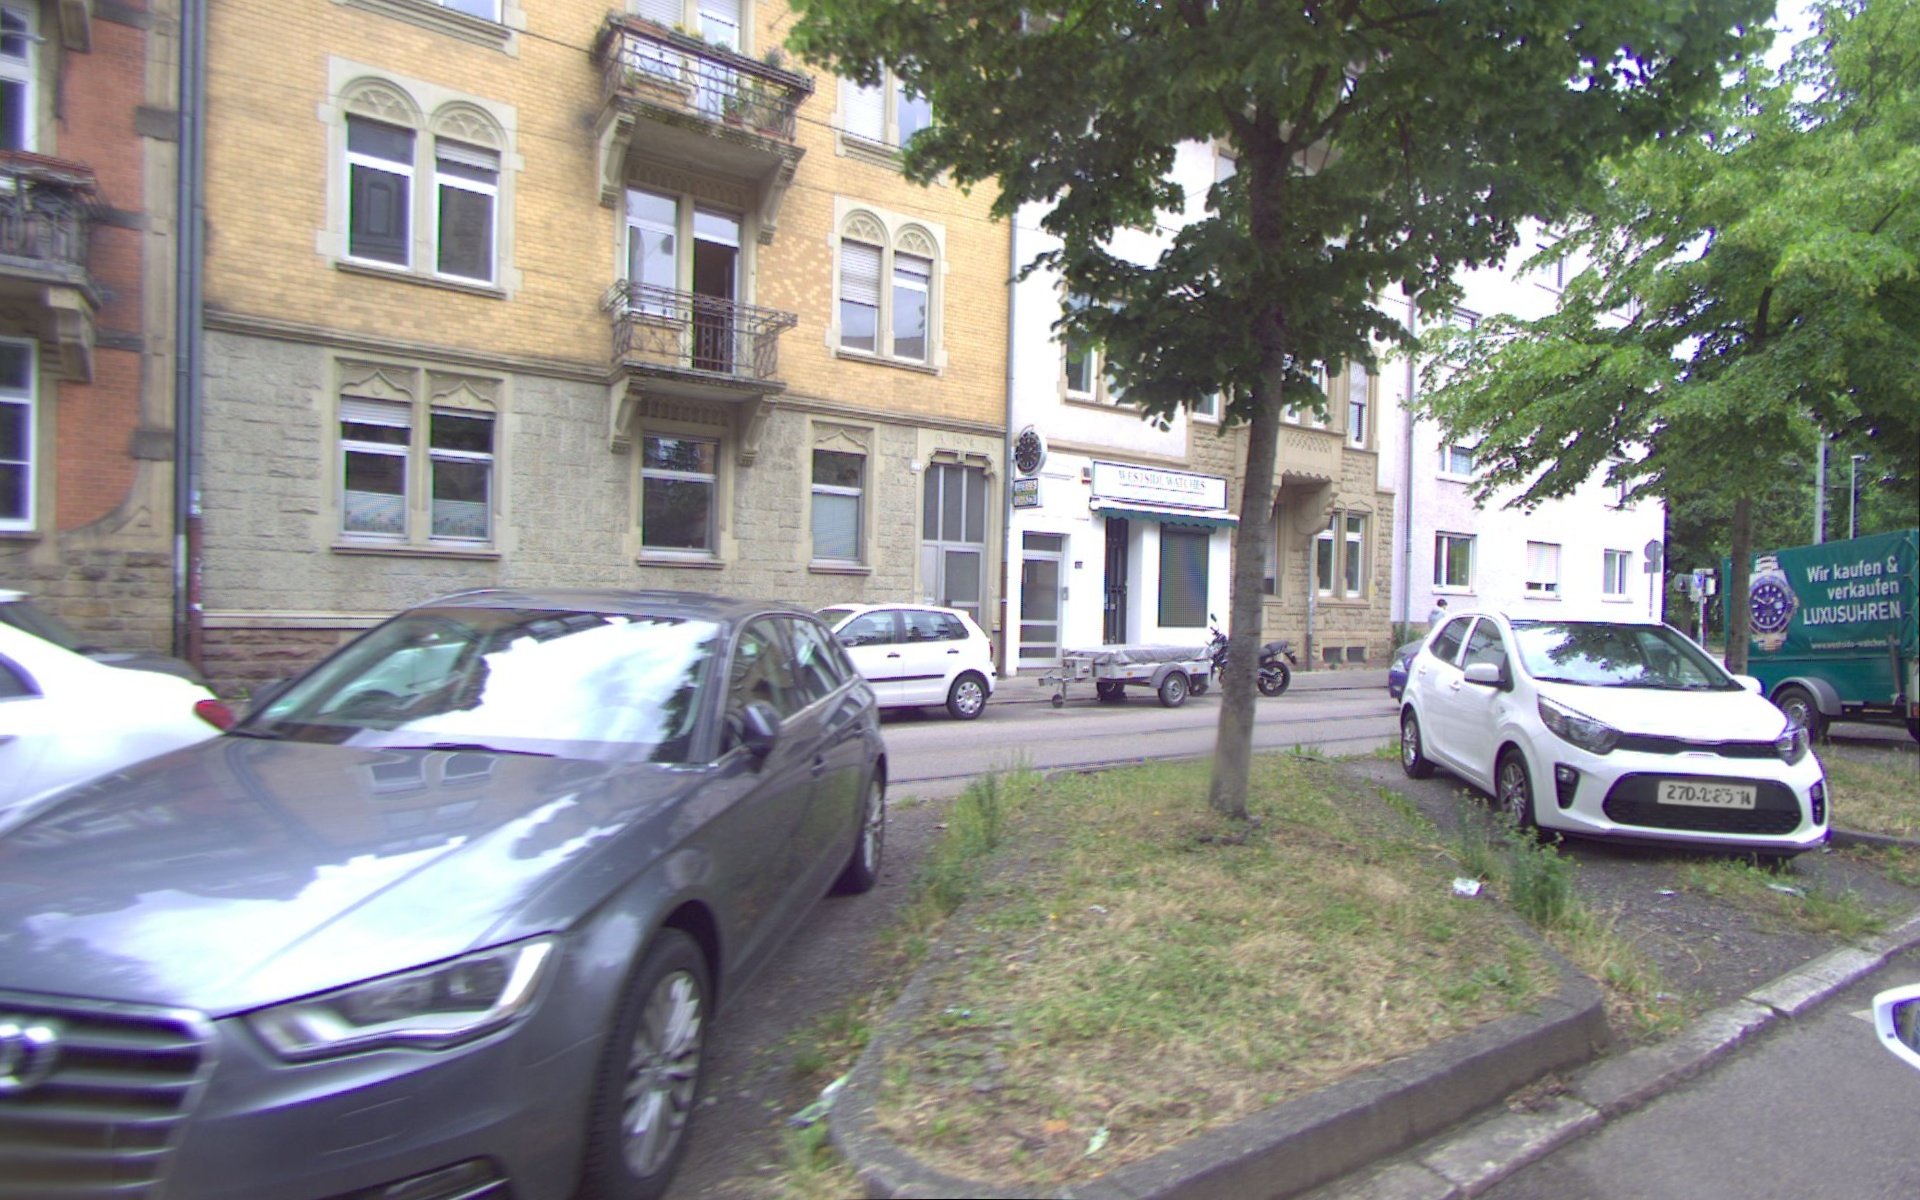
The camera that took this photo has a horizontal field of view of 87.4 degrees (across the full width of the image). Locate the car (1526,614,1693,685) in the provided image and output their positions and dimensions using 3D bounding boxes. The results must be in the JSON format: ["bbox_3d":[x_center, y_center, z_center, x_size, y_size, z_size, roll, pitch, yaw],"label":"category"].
[{"bbox_3d":[15.234,1.120,23.468,4.715,1.462,1.624,1,0,-35],"label":"car"}]

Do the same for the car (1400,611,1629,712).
[{"bbox_3d":[8.921,0.943,16.075,3.843,1.401,1.634,2,0,-34],"label":"car"}]

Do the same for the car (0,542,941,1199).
[{"bbox_3d":[-1.317,0.640,3.847,1.860,1.454,4.343,1,0,7],"label":"car"}]

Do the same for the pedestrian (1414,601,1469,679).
[{"bbox_3d":[11.278,0.922,23.532,0.891,1.790,0.792,1,0,-34],"label":"pedestrian"}]

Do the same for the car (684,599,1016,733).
[{"bbox_3d":[-1.316,0.769,12.709,3.884,1.462,1.624,1,-2,-35],"label":"car"}]

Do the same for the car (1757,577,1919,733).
[{"bbox_3d":[13.351,0.735,13.429,1.920,2.000,4.770,1,0,6],"label":"car"}]

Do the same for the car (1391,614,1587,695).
[{"bbox_3d":[10.835,1.058,20.457,4.524,1.462,1.624,1,0,-35],"label":"car"}]

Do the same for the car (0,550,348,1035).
[{"bbox_3d":[-3.894,0.552,2.186,1.860,1.454,4.691,1,0,6],"label":"car"}]

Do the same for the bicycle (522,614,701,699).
[{"bbox_3d":[-4.802,0.756,13.941,2.237,1.087,0.706,1,0,-35],"label":"bicycle"}]

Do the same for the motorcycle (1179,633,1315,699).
[{"bbox_3d":[4.914,1.129,17.215,2.194,1.052,0.708,2,0,-17],"label":"motorcycle"}]

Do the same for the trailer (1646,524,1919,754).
[{"bbox_3d":[10.574,0.426,12.244,1.893,2.376,3.671,1,0,0],"label":"trailer"}]

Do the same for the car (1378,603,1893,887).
[{"bbox_3d":[4.452,0.785,7.400,1.655,1.482,3.866,1,0,9],"label":"car"}]

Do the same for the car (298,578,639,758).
[{"bbox_3d":[-4.999,0.612,10.267,2.921,1.571,1.624,1,0,-35],"label":"car"}]

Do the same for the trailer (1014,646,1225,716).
[{"bbox_3d":[2.451,1.176,15.249,3.046,0.904,1.445,1,-2,-35],"label":"trailer"}]

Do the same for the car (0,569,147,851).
[{"bbox_3d":[-6.854,0.541,5.268,3.843,1.524,1.634,2,0,-34],"label":"car"}]
